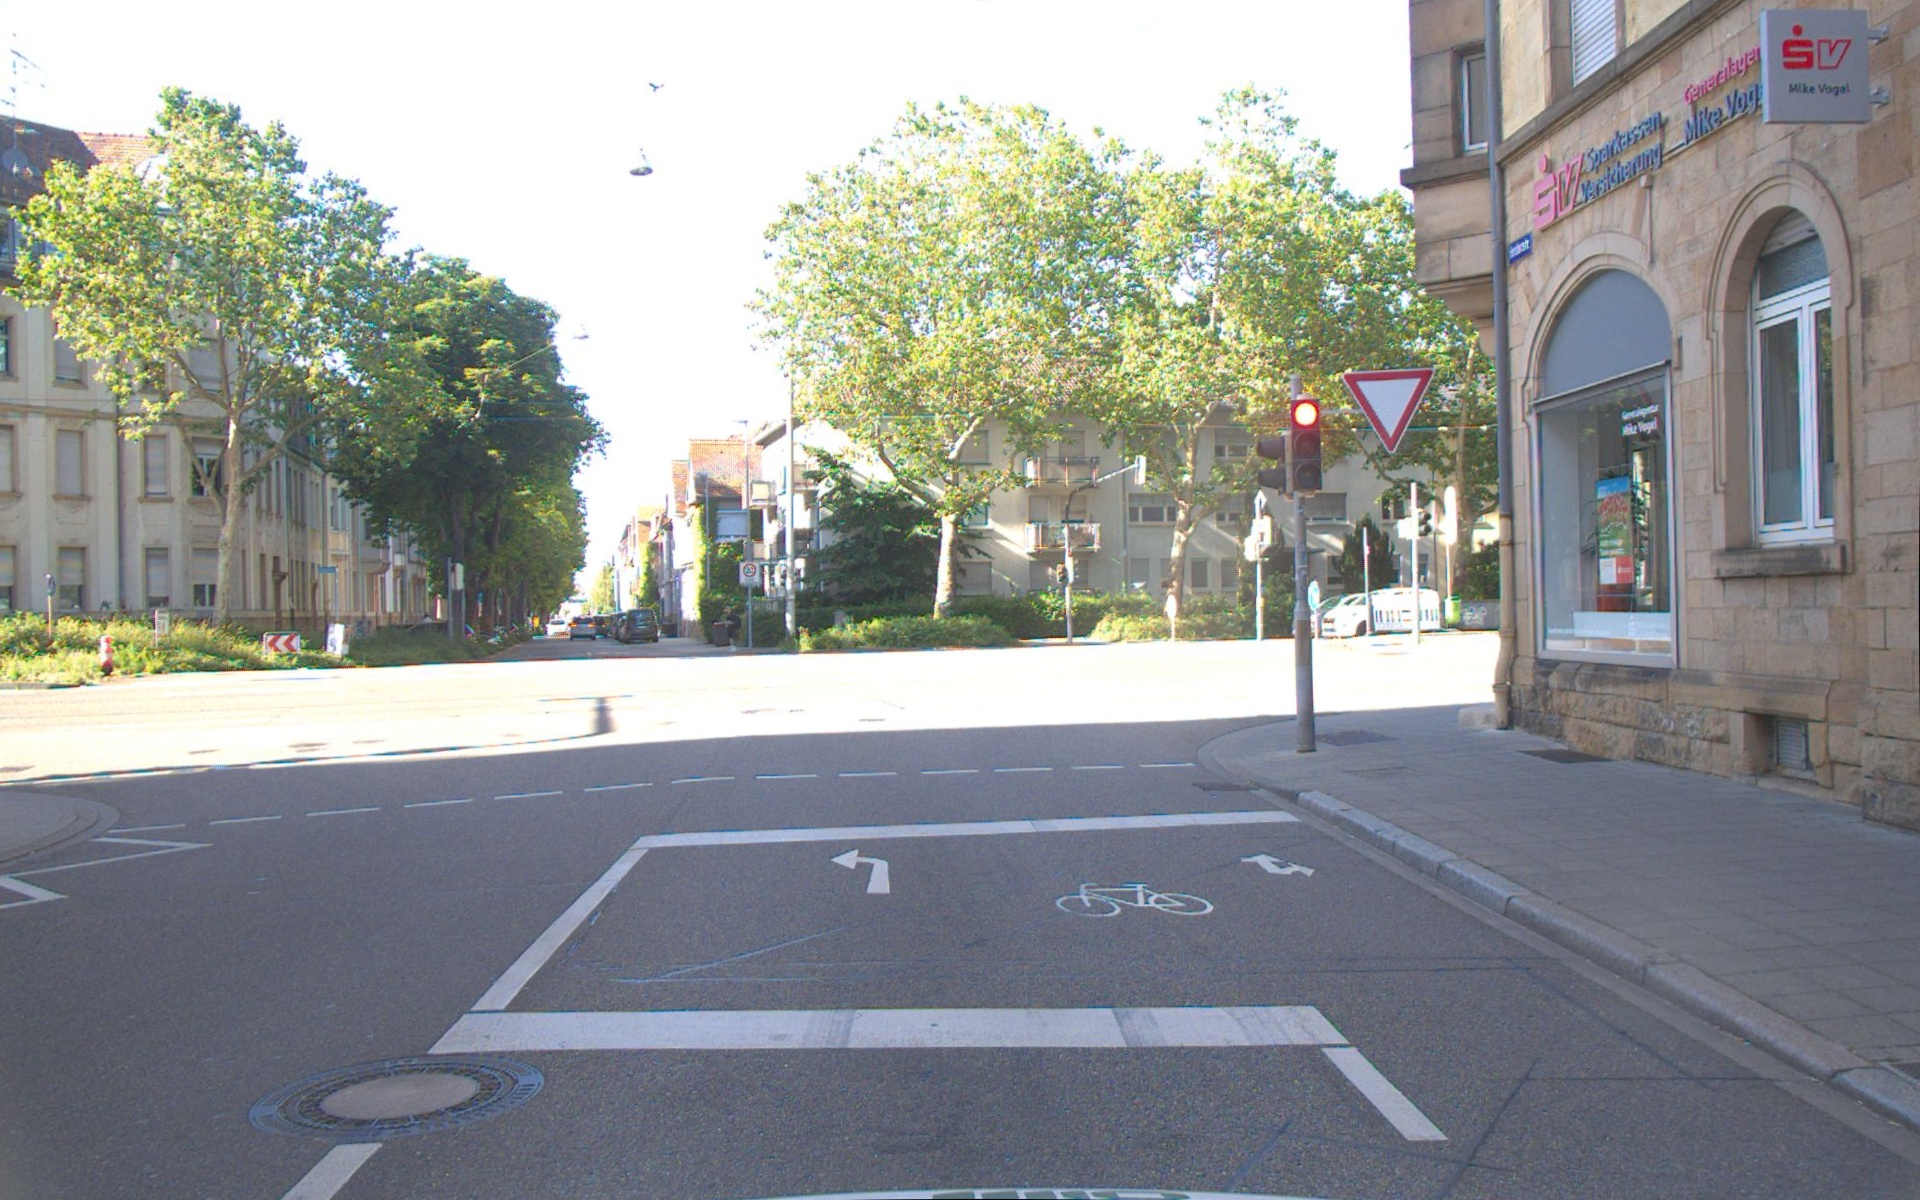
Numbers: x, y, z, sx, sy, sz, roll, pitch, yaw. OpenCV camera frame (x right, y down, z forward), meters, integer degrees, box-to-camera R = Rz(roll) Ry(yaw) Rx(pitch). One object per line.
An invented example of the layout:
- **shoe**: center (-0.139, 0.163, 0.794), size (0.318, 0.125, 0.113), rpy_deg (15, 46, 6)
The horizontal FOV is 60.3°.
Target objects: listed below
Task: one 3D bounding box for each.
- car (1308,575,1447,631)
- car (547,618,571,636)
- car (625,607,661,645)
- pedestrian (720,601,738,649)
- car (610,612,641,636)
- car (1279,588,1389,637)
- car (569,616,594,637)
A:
- **car**: center (12.304, 0.083, 48.766), size (3.734, 1.498, 1.619), rpy_deg (-2, 0, -22)
- **car**: center (-35.368, 2.358, 145.749), size (1.961, 1.471, 3.984), rpy_deg (-2, 0, -15)
- **car**: center (-18.433, 1.481, 96.239), size (1.958, 2.049, 3.990), rpy_deg (-2, 0, -10)
- **pedestrian**: center (-8.638, 0.946, 61.917), size (0.621, 1.780, 0.658), rpy_deg (0, -1, -5)
- **car**: center (-25.672, 1.831, 126.805), size (1.962, 1.865, 3.981), rpy_deg (0, -1, -17)
- **car**: center (12.518, 0.421, 55.416), size (3.334, 1.513, 1.514), rpy_deg (-2, 0, -23)
- **car**: center (-27.363, 1.924, 119.748), size (1.644, 1.508, 3.512), rpy_deg (0, -1, -11)
